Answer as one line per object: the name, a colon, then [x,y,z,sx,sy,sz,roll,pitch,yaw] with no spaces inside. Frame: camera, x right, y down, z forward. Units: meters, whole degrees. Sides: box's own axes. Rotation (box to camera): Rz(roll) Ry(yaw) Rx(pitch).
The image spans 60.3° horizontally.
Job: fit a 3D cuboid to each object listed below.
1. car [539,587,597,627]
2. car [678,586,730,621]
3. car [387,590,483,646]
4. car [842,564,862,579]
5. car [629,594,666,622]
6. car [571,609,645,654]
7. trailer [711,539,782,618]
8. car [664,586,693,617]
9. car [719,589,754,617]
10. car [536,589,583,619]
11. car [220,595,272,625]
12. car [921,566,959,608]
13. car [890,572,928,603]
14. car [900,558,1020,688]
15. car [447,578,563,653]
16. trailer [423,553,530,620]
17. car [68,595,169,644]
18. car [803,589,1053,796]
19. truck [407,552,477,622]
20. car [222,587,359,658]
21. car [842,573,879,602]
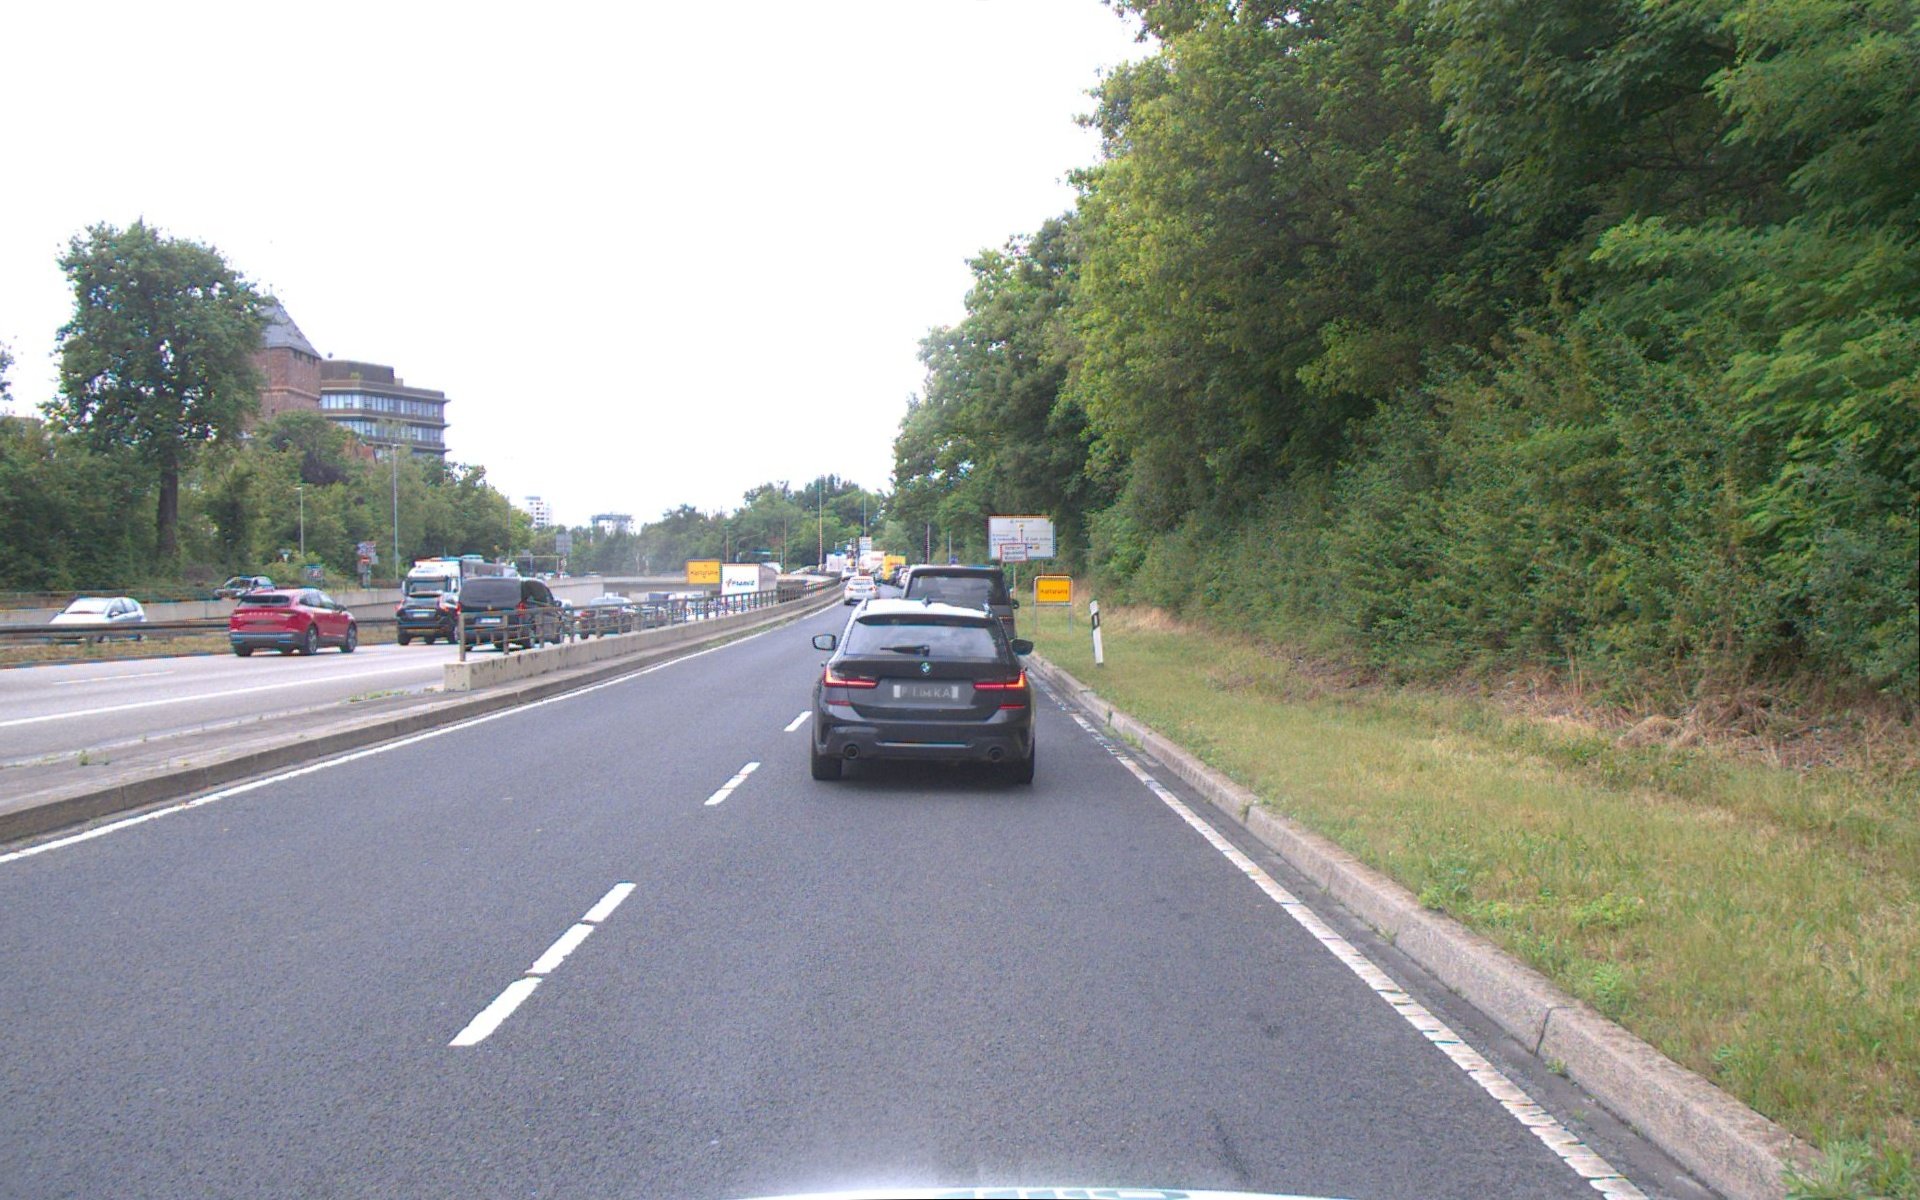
car: [-17.005,0.289,71.849,1.654,1.636,4.006,1,0,-2]
car: [-12.739,0.150,82.536,1.906,1.721,4.506,0,0,-1]
car: [-16.862,0.550,53.312,1.852,1.711,4.304,0,0,-2]
car: [-12.158,-3.239,185.781,1.895,1.624,3.868,0,0,-9]
car: [-18.979,0.476,100.455,1.654,1.660,3.733,1,0,-2]
car: [-12.662,1.117,59.755,1.678,1.482,4.666,0,0,0]
trailer: [-14.049,-1.360,110.100,3.069,4.807,14.554,1,0,-1]
car: [-19.461,0.081,114.557,1.414,2.080,3.680,0,0,0]
car: [-13.000,0.141,96.354,1.733,1.577,3.491,0,0,-2]
car: [-24.713,0.233,102.185,1.953,1.796,3.999,0,0,-1]
car: [-37.690,0.519,87.330,1.319,1.551,3.369,0,0,-1]
car: [-0.759,-0.507,63.465,1.423,1.567,3.224,0,0,-1]
car: [-2.600,-0.627,84.070,1.821,1.489,4.532,1,0,-2]
car: [-0.023,0.331,26.370,1.759,1.904,3.999,0,0,-1]
car: [-12.069,0.388,44.205,1.953,1.883,4.809,0,0,-3]
trailer: [-29.577,-0.808,102.021,2.538,3.823,14.724,0,0,-1]
car: [-27.585,0.609,54.340,1.564,1.516,3.624,0,0,-2]
car: [-0.323,0.662,14.056,1.809,1.492,3.998,1,0,-3]
truck: [-29.444,-0.726,94.122,2.540,3.834,4.777,0,0,-1]
car: [-16.494,0.519,40.961,1.716,1.664,4.266,0,0,-1]
car: [-5.292,-0.645,88.271,1.821,1.489,4.883,1,0,-2]
